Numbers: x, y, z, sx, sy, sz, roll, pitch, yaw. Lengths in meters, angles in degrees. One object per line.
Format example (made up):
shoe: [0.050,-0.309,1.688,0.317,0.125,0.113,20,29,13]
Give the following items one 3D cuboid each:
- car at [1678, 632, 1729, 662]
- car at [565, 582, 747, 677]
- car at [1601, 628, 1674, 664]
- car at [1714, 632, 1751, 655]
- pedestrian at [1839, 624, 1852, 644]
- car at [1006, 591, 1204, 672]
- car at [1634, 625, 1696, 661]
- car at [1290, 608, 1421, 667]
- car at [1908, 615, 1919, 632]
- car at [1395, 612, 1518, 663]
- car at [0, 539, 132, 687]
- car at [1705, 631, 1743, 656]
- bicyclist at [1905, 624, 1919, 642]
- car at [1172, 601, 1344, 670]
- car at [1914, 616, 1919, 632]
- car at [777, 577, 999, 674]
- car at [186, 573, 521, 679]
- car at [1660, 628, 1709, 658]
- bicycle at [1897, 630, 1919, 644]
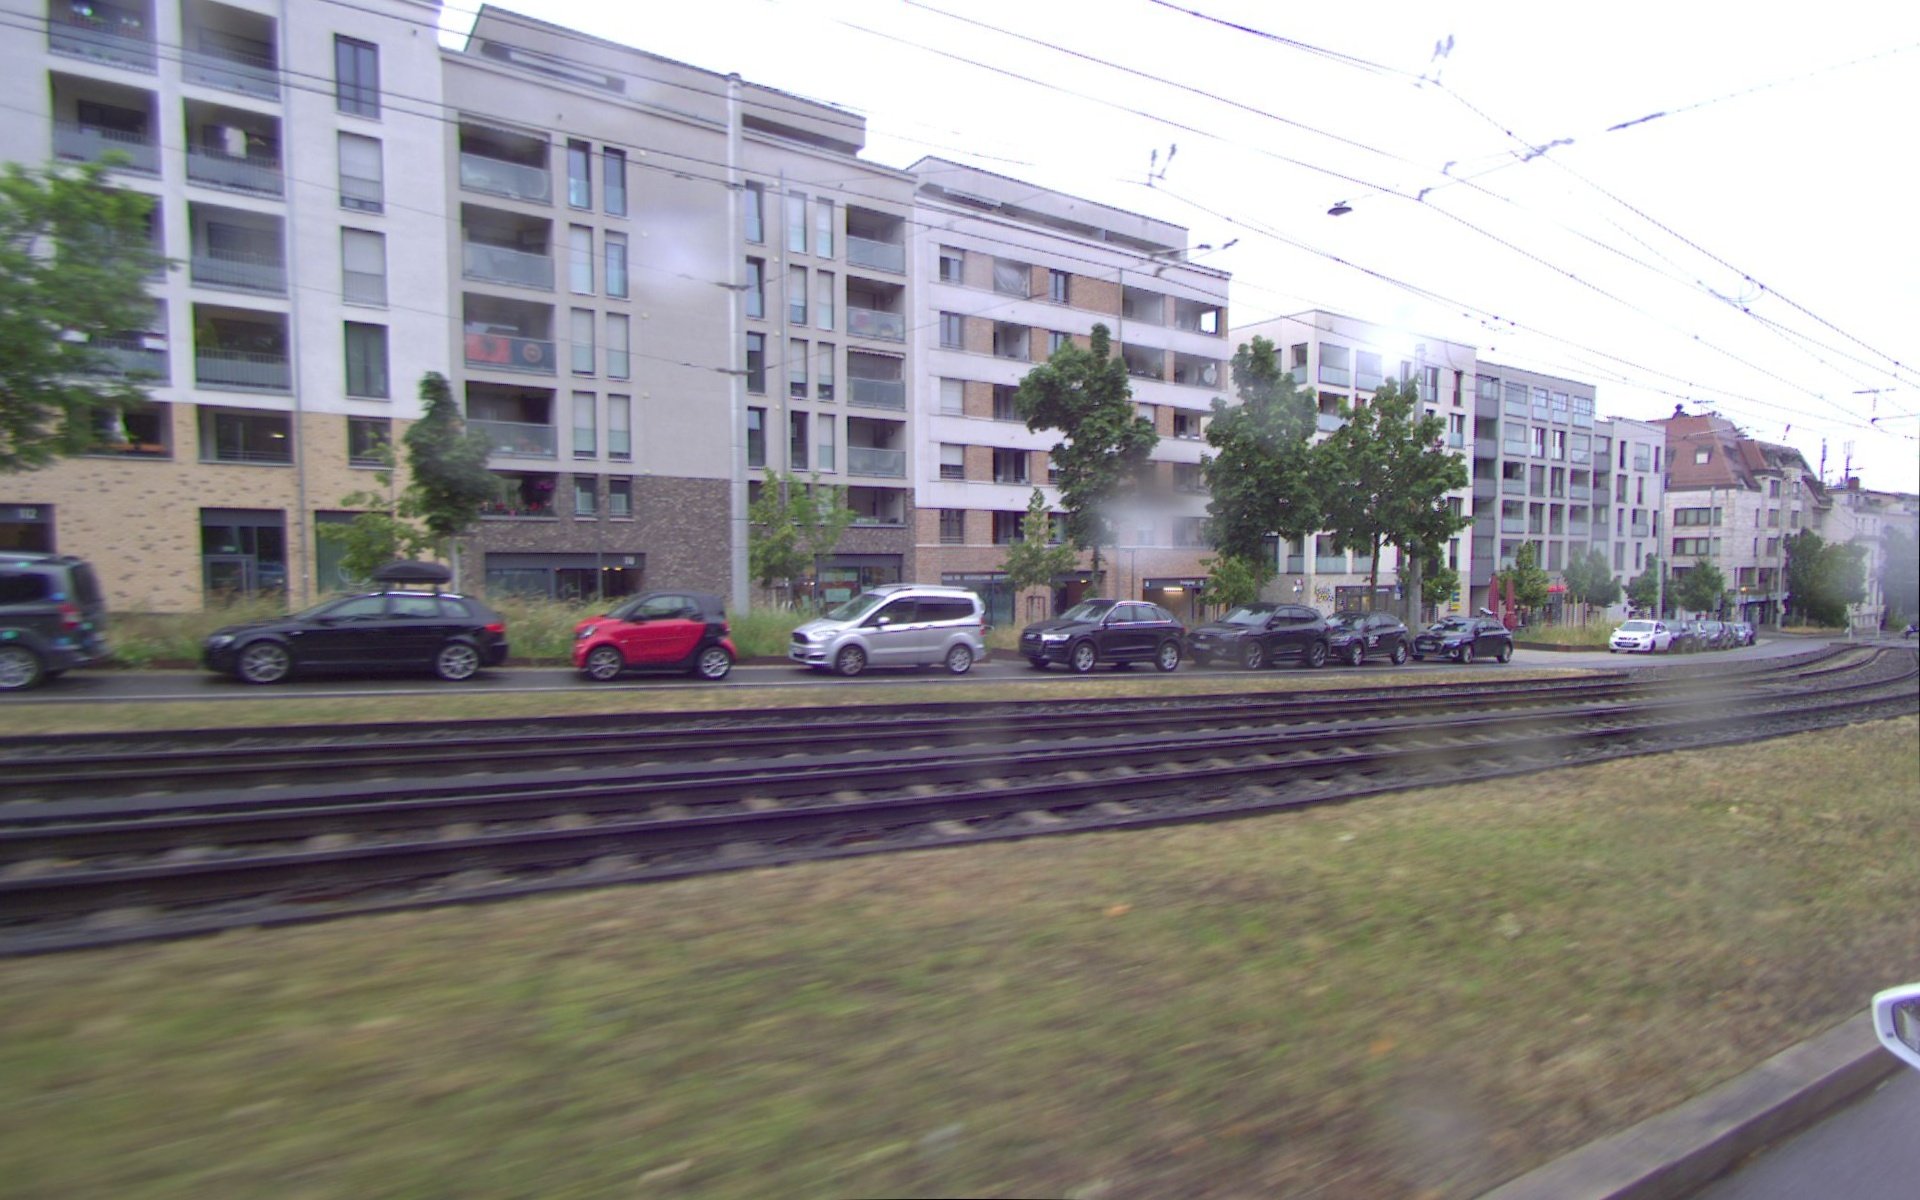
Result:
car: [41.549,2.612,56.097,1.701,1.533,4.292,2,0,44]
car: [-5.428,0.523,17.915,2.892,1.551,1.464,2,1,-26]
car: [30.951,2.097,45.865,3.703,1.498,1.751,2,0,-39]
car: [55.716,3.140,72.434,1.889,1.524,4.216,2,0,40]
pedestrian: [87.217,3.325,98.957,0.894,1.957,0.821,3,1,40]
car: [3.423,0.751,23.377,4.482,1.666,1.722,2,1,-33]
car: [34.232,2.081,48.754,1.747,1.582,4.378,2,0,44]
car: [11.704,1.101,29.632,4.222,1.509,1.722,2,1,-40]
car: [123.513,3.059,129.196,3.970,2.040,1.976,2,1,-42]
car: [16.259,1.234,32.832,4.161,1.450,1.951,2,1,-38]
car: [-13.812,0.103,13.188,4.282,1.884,1.573,2,2,-30]
car: [51.036,2.907,67.063,1.752,1.524,4.064,2,0,40]
bicyclist: [85.292,2.931,90.025,0.688,1.595,0.462,3,1,22]
car: [7.895,0.943,26.446,4.652,1.605,1.791,2,1,-35]
car: [128.233,3.198,133.302,3.970,2.040,1.976,2,1,-42]
car: [-1.430,0.531,20.556,4.211,1.771,1.653,2,1,-32]
car: [-9.472,0.425,16.037,4.347,1.467,1.543,2,2,-30]
car: [37.943,2.258,52.572,1.533,1.454,3.430,2,0,44]
bicycle: [85.300,3.314,90.022,1.767,1.078,0.457,4,2,22]
